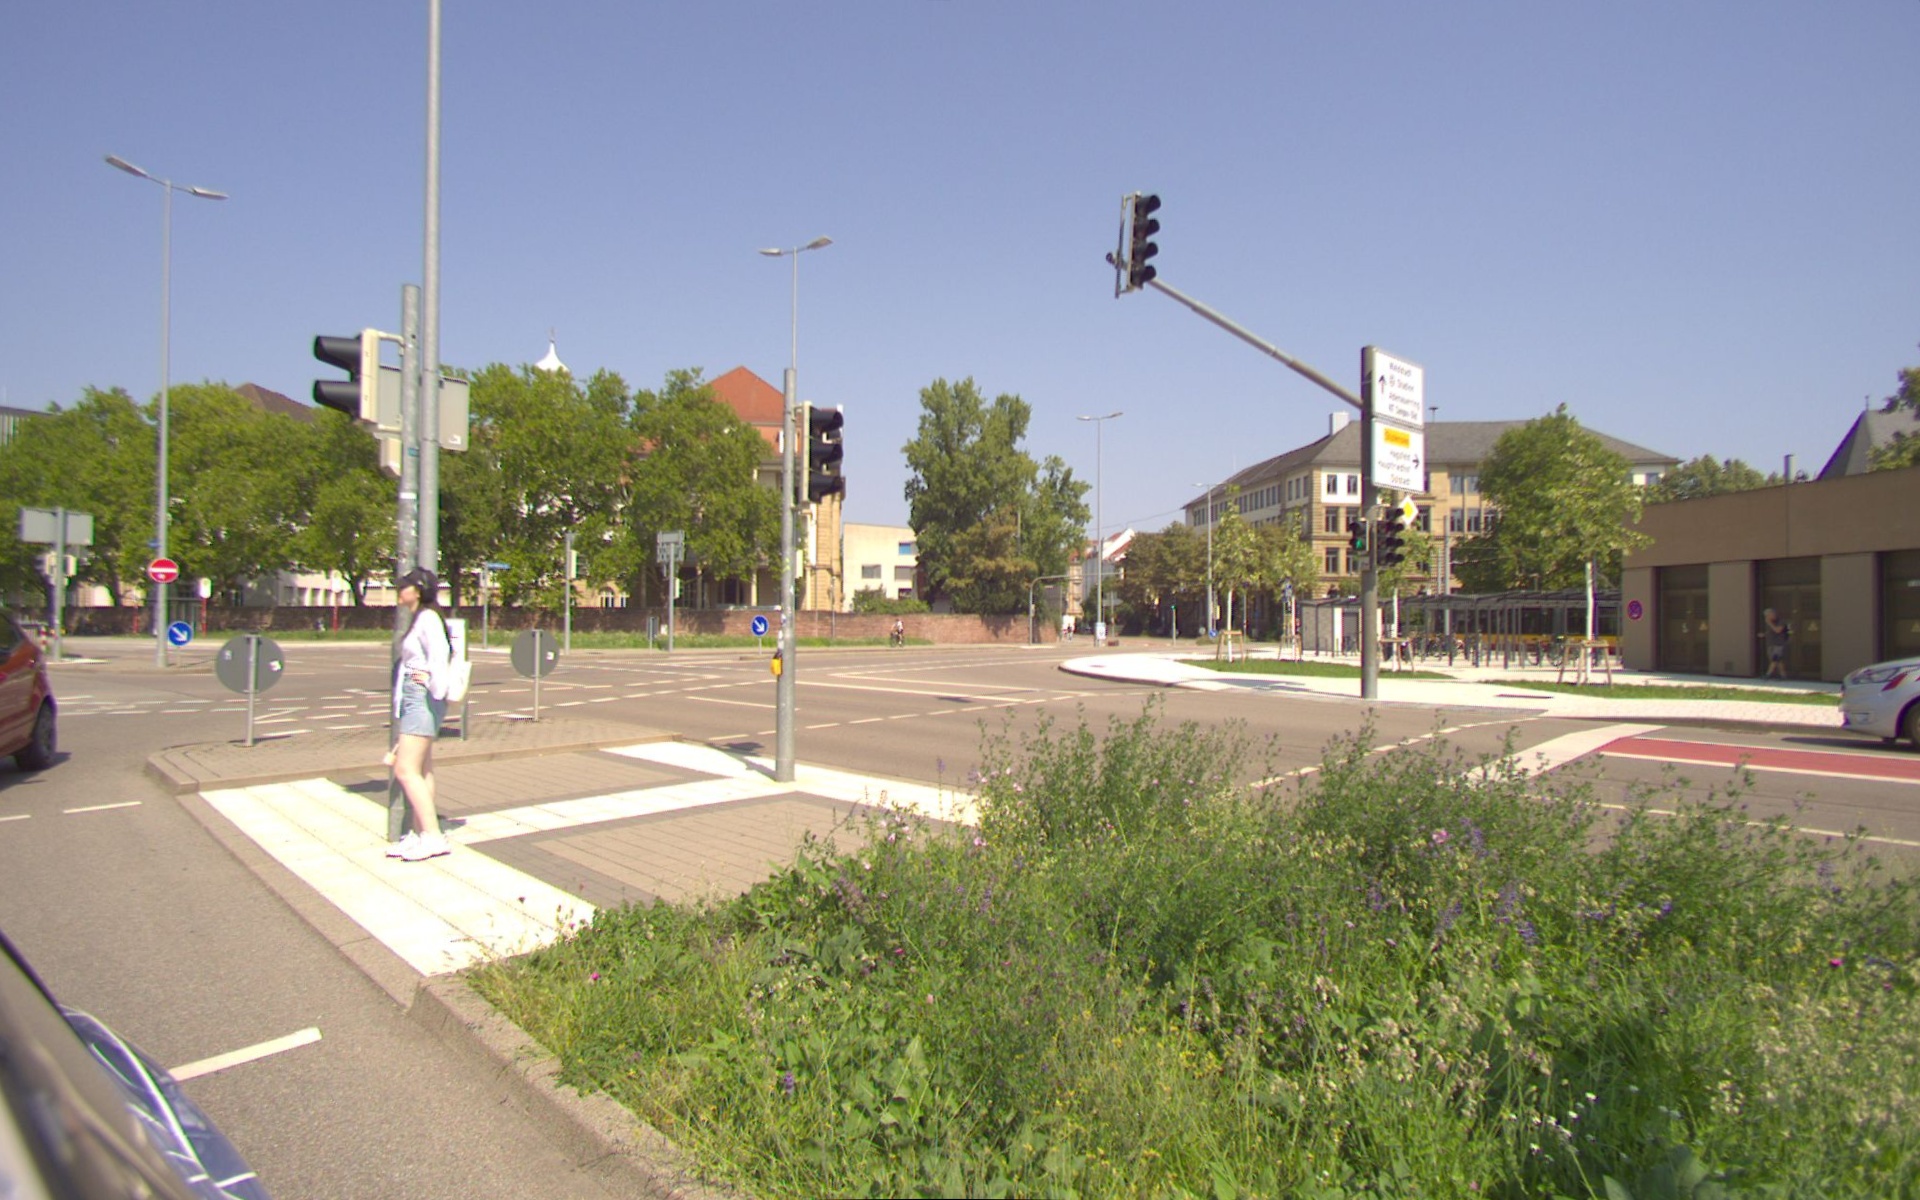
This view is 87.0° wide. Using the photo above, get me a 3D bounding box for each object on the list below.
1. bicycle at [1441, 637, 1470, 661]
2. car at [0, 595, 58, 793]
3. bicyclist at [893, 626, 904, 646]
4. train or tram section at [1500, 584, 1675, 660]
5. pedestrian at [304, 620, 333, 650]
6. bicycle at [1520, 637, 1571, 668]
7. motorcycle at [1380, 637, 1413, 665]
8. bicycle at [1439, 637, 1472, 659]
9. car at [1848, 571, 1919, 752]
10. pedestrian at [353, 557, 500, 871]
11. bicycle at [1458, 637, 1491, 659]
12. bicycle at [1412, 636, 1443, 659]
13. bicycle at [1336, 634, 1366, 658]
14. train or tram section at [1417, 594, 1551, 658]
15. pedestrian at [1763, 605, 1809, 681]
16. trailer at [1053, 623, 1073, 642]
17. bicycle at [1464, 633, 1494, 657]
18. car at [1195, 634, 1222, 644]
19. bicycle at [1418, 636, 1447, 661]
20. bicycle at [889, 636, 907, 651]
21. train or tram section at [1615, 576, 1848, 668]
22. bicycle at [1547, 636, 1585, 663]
[{"bbox_3d":[22.078,2.181,45.116,0.406,1.048,1.642,1,-2,-5],"label":"bicycle"},{"bbox_3d":[-8.471,0.765,7.483,1.814,1.627,4.012,0,-1,-29],"label":"car"},{"bbox_3d":[-3.683,2.153,60.666,0.431,1.242,0.536,-1,-2,26],"label":"bicyclist"},{"bbox_3d":[32.857,1.288,53.557,3.112,3.625,8.538,2,-3,-7],"label":"train or tram section"},{"bbox_3d":[-44.241,2.396,69.770,1.221,2.029,1.069,0,-2,9],"label":"pedestrian"},{"bbox_3d":[20.772,1.855,35.949,0.505,1.048,1.739,1,-2,-14],"label":"bicycle"},{"bbox_3d":[17.764,2.063,41.213,0.484,1.077,1.781,1,-2,-4],"label":"motorcycle"},{"bbox_3d":[23.226,2.242,47.452,0.519,1.048,1.772,1,-2,-5],"label":"bicycle"},{"bbox_3d":[11.816,0.671,10.088,4.336,1.874,1.971,-1,-5,45],"label":"car"},{"bbox_3d":[-3.097,0.633,5.937,0.688,1.708,0.609,1,-2,-24],"label":"pedestrian"},{"bbox_3d":[24.332,2.256,47.877,0.519,1.048,1.772,1,-2,-5],"label":"bicycle"},{"bbox_3d":[21.905,2.207,47.449,0.519,1.048,1.772,1,-2,-5],"label":"bicycle"},{"bbox_3d":[18.182,2.124,47.092,0.519,1.090,1.867,1,-2,-5],"label":"bicycle"},{"bbox_3d":[31.803,1.686,61.929,3.089,3.588,8.340,2,-3,-7],"label":"train or tram section"},{"bbox_3d":[18.671,0.971,22.886,0.560,1.691,0.537,1,-2,-7],"label":"pedestrian"},{"bbox_3d":[18.336,5.726,180.575,2.403,3.313,5.098,1,-2,-9],"label":"trailer"},{"bbox_3d":[23.296,2.032,45.450,0.406,1.048,1.642,1,-2,-5],"label":"bicycle"},{"bbox_3d":[31.747,5.013,129.304,3.008,1.185,1.254,1,-2,-11],"label":"car"},{"bbox_3d":[21.050,2.149,45.086,0.406,1.048,1.642,1,-2,-5],"label":"bicycle"},{"bbox_3d":[-3.693,2.599,60.641,0.435,0.818,1.473,-1,-2,26],"label":"bicycle"},{"bbox_3d":[33.904,1.098,45.092,3.112,3.625,8.538,2,-3,-7],"label":"train or tram section"},{"bbox_3d":[24.115,1.974,40.297,0.406,1.048,1.642,1,-2,-5],"label":"bicycle"}]
